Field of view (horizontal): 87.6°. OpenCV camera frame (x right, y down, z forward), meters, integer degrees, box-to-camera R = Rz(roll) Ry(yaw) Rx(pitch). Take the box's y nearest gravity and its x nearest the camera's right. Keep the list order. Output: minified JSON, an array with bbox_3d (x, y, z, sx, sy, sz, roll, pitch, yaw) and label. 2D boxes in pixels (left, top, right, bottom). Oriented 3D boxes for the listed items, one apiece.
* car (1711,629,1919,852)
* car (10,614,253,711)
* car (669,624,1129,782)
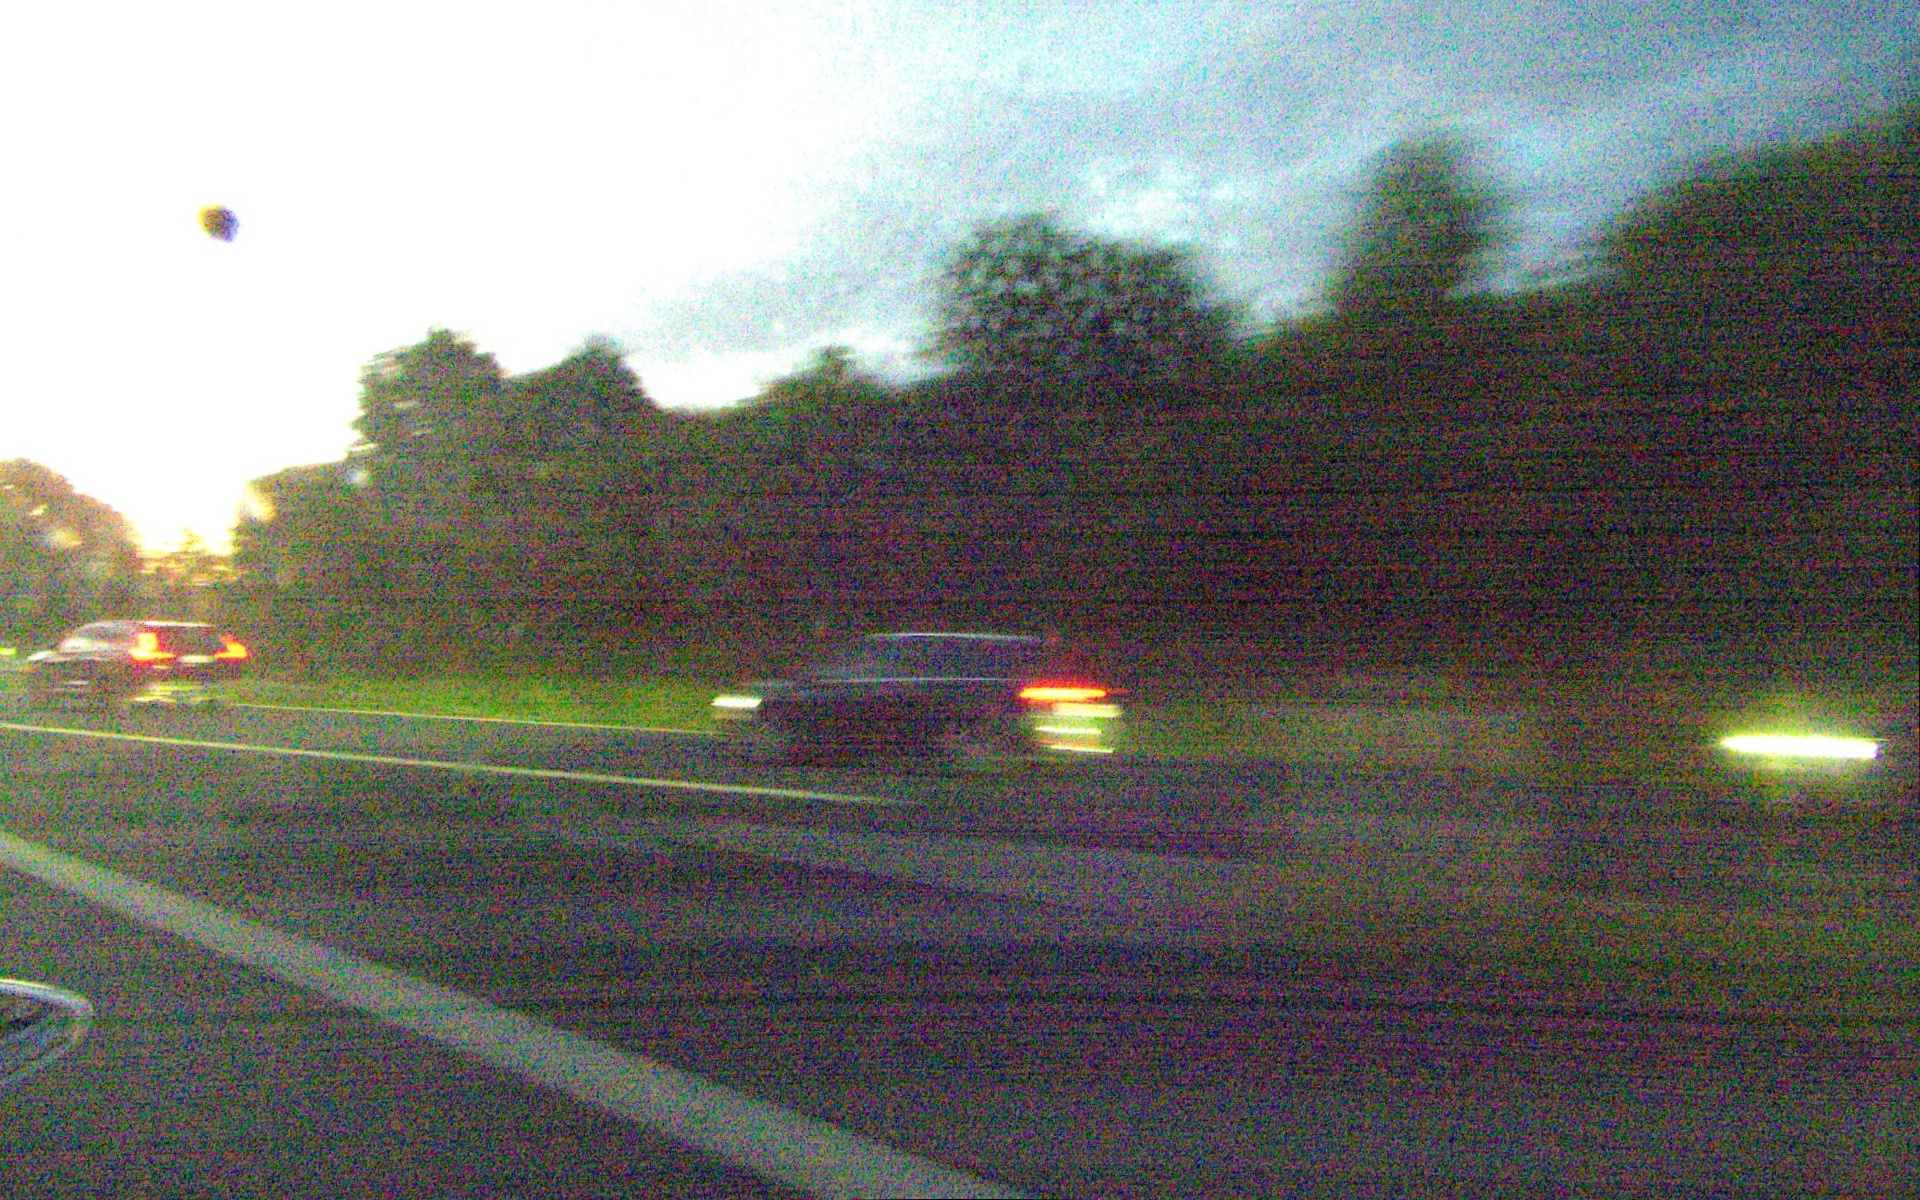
[{"bbox_3d":[8.153,0.998,6.981,4.365,1.509,1.799,-1,-4,26],"label":"car"},{"bbox_3d":[-15.914,1.147,19.178,5.081,1.666,1.797,-1,-3,28],"label":"car"},{"bbox_3d":[-0.761,1.079,11.496,5.035,1.509,1.799,-1,-4,26],"label":"car"}]
